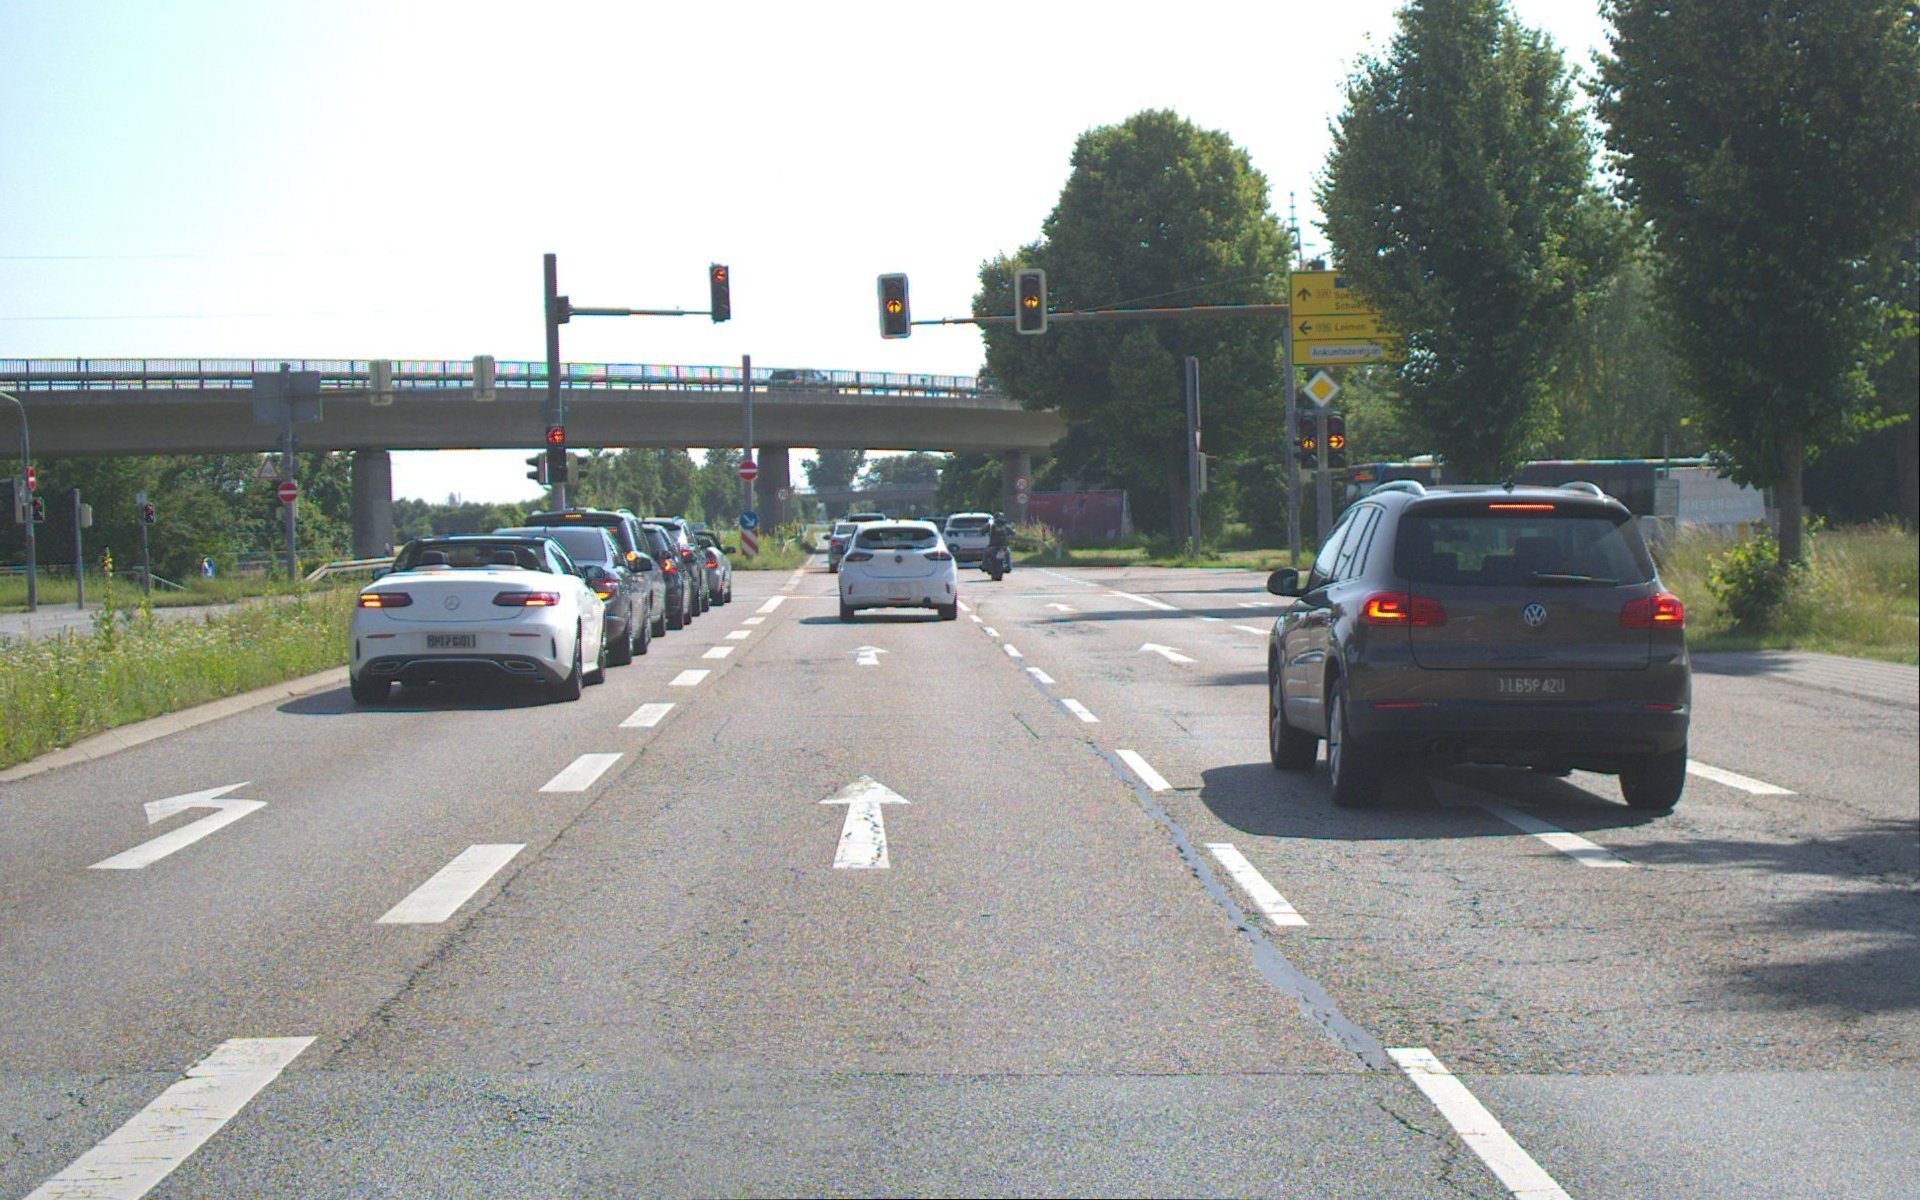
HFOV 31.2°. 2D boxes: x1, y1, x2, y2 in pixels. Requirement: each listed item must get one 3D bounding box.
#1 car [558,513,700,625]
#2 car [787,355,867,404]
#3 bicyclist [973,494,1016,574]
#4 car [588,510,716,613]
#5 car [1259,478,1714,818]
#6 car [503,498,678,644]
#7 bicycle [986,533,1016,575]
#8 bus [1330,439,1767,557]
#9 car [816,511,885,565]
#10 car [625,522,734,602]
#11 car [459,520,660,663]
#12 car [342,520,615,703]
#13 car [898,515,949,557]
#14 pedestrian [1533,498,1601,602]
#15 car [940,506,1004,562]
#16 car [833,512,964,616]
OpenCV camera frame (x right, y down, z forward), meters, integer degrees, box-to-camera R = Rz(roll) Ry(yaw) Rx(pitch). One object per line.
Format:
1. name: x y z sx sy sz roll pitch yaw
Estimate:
1. car: -4.611 -0.463 48.297 1.666 1.469 4.098 -1 2 -1
2. car: -5.985 -9.910 154.717 1.996 1.942 3.810 1 1 27
3. bicyclist: 0.821 -1.584 82.392 1.007 1.880 1.327 0 1 0
4. car: -4.870 -0.648 54.780 1.728 1.542 4.098 -1 2 -1
5. car: 2.747 0.192 18.831 1.755 1.650 4.147 0 1 -1
6. car: -4.517 -0.398 42.572 1.741 1.666 4.357 -2 2 -1
7. bicycle: 0.969 -1.112 81.933 0.600 0.980 2.361 -1 1 -1
8. bus: 16.577 -2.874 96.680 11.935 2.867 2.943 -3 1 -16
9. car: -3.139 -1.806 99.399 1.873 1.487 4.000 -1 1 0
10. car: -4.972 -0.699 61.318 1.673 1.330 4.098 -1 2 -1
11. car: -4.181 -0.135 36.444 1.714 1.405 4.356 0 2 -1
12. car: -4.035 0.038 29.486 1.803 1.420 4.642 -1 1 -2
13. car: -1.515 -2.611 140.924 1.993 1.626 4.000 1 1 -2
14. pedestrian: 10.884 -0.906 61.651 0.901 1.833 1.195 -2 1 -4
15. car: 0.338 -2.007 103.206 1.873 1.634 4.000 0 1 0
16. car: -0.890 -0.559 50.656 1.851 1.456 4.000 0 1 0
